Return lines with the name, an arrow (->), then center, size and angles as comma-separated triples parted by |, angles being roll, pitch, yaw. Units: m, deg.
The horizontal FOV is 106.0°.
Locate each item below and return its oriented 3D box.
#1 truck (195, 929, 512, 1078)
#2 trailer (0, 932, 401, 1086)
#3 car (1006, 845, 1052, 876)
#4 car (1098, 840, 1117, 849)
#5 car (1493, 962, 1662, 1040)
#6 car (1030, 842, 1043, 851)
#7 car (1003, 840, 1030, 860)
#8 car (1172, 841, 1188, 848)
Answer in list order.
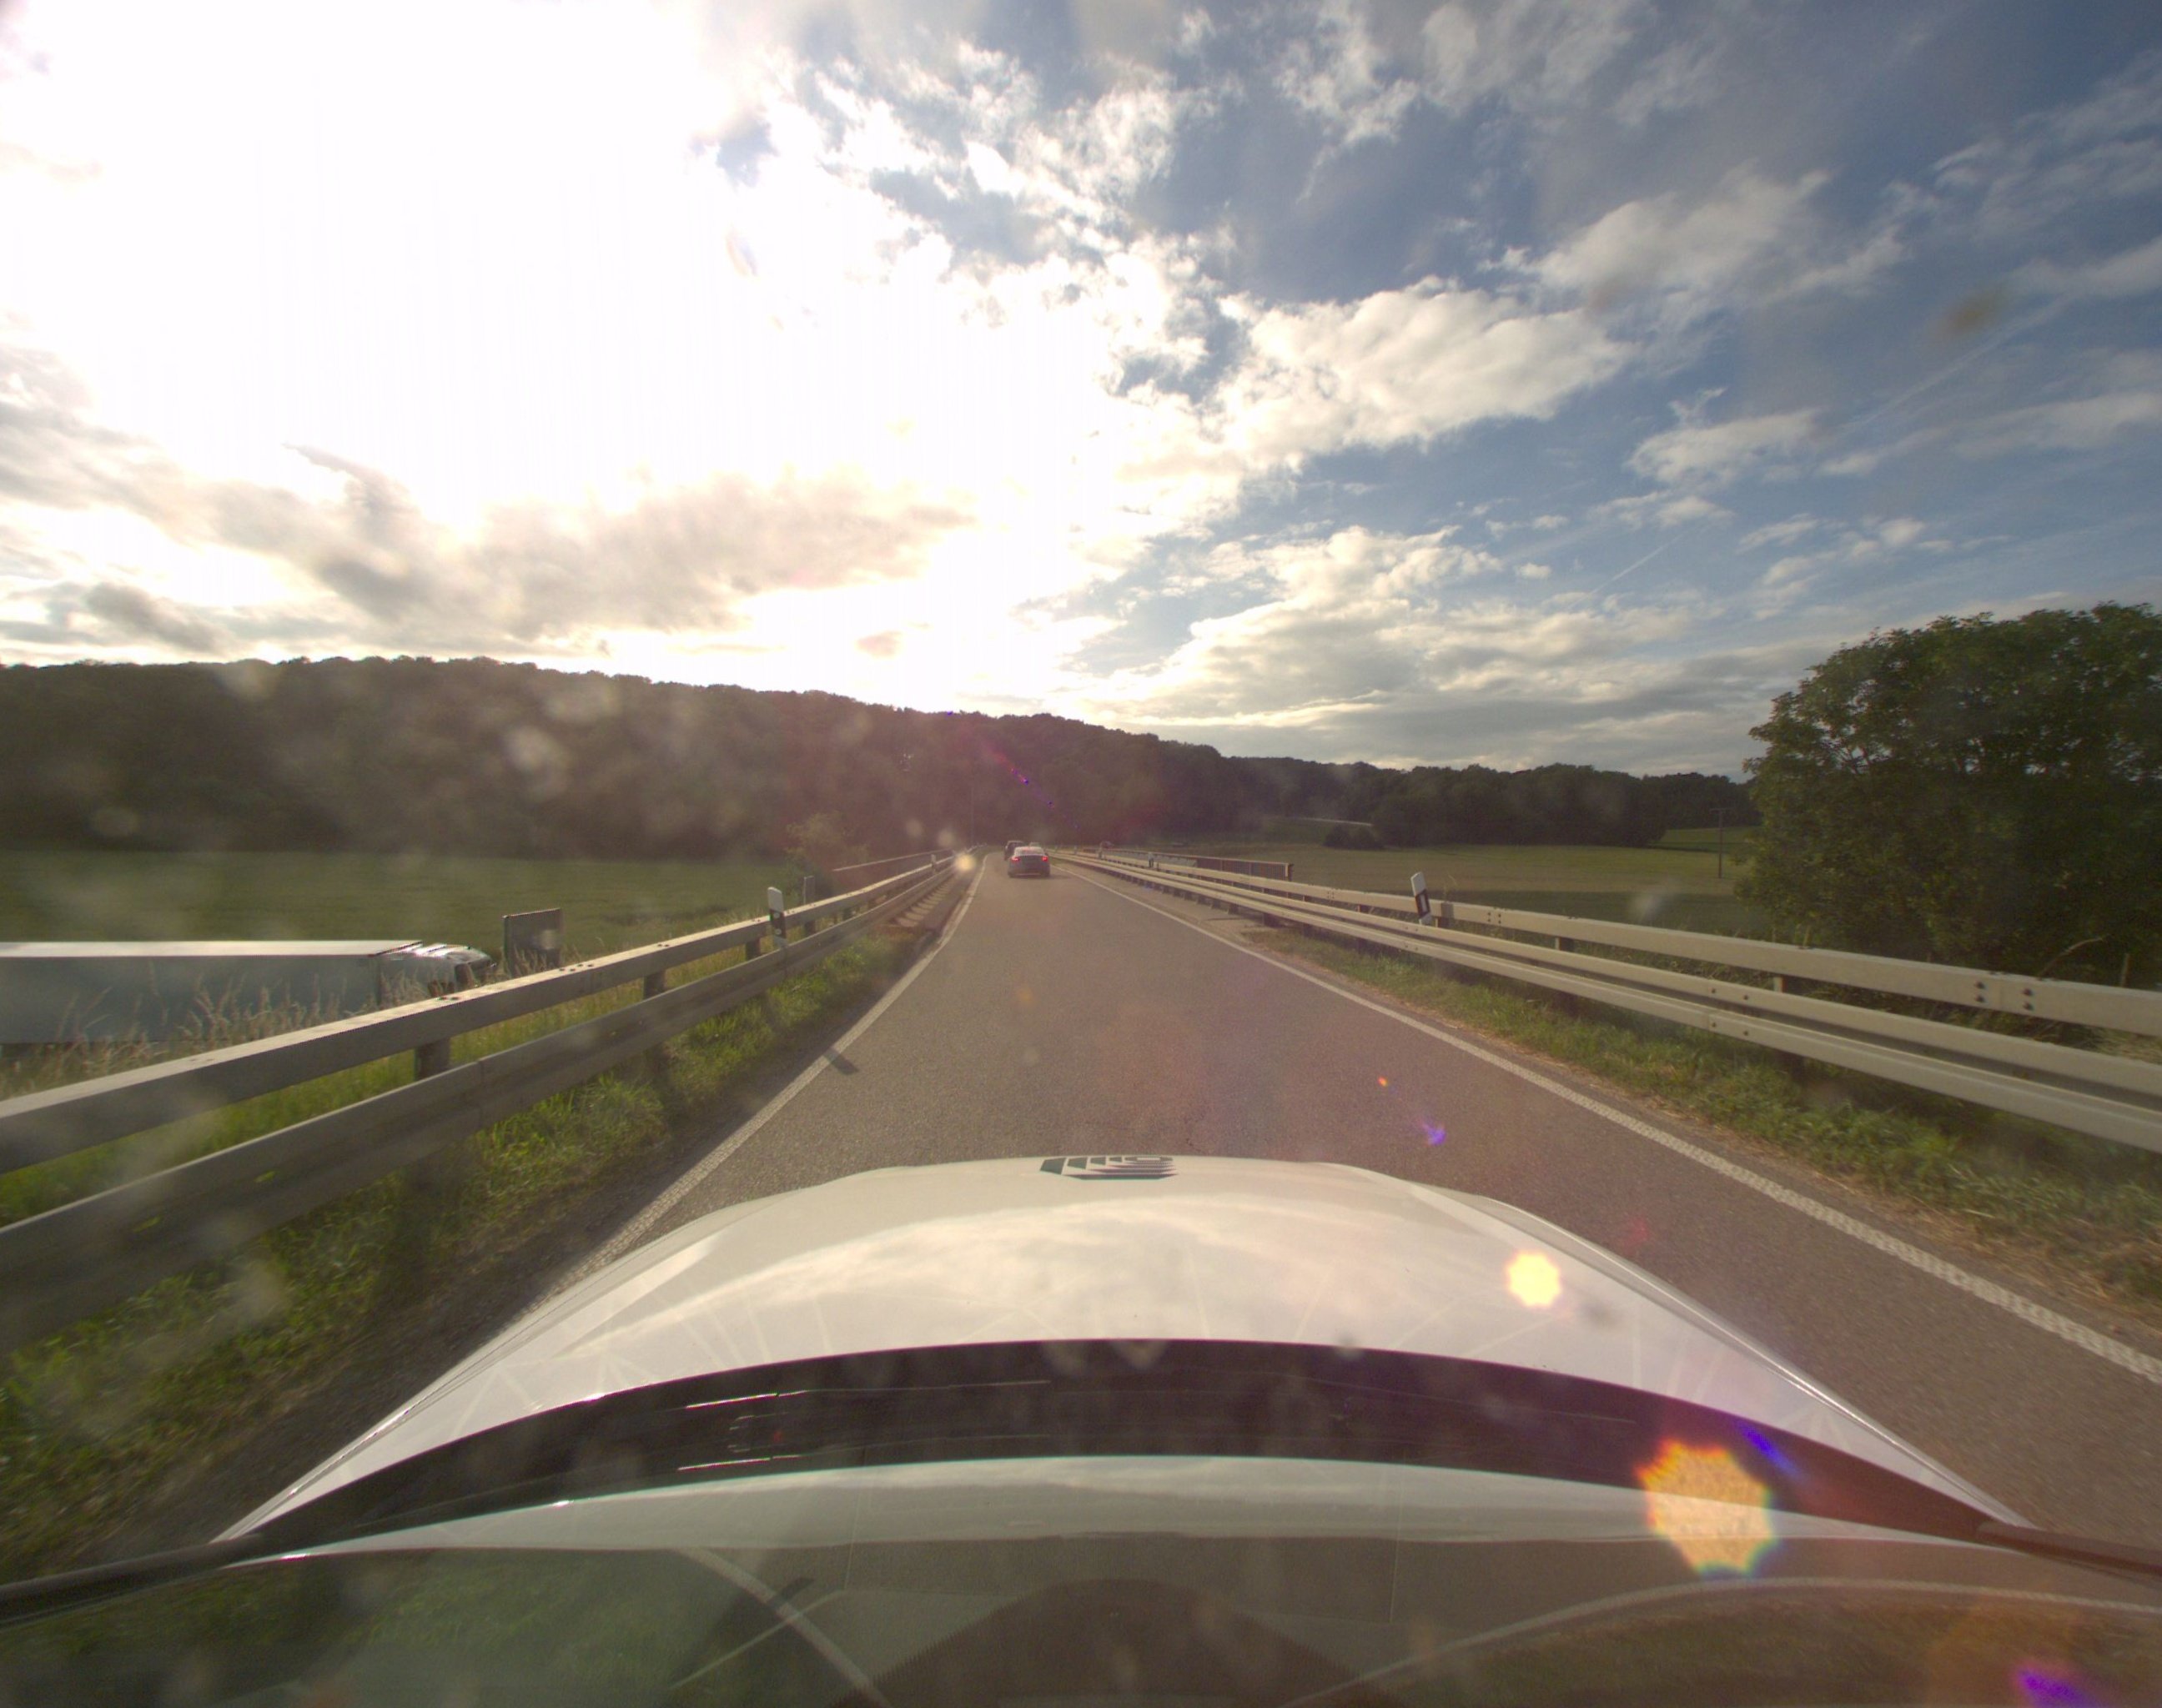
truck -> -25.952, 5.234, 29.532 | 8.025, 4.466, 3.022 | 0, 3, -8
trailer -> -32.079, 5.280, 28.618 | 12.678, 4.466, 3.025 | 0, 3, -9
car -> -2.471, 0.256, 37.662 | 1.817, 1.339, 4.339 | 0, 1, -8
car -> 5.493, -1.956, 167.536 | 1.975, 1.679, 4.204 | 2, 0, 30
car -> 21.603, 6.359, 35.579 | 6.096, 2.583, 2.369 | -1, 5, -7
car -> -6.554, -1.036, 120.095 | 1.464, 1.227, 3.303 | 1, -1, 4
car -> -5.300, -0.335, 66.237 | 1.861, 1.568, 3.988 | 1, 1, -9
car -> 24.021, -2.303, 197.283 | 1.975, 1.771, 4.025 | 0, 2, 42
